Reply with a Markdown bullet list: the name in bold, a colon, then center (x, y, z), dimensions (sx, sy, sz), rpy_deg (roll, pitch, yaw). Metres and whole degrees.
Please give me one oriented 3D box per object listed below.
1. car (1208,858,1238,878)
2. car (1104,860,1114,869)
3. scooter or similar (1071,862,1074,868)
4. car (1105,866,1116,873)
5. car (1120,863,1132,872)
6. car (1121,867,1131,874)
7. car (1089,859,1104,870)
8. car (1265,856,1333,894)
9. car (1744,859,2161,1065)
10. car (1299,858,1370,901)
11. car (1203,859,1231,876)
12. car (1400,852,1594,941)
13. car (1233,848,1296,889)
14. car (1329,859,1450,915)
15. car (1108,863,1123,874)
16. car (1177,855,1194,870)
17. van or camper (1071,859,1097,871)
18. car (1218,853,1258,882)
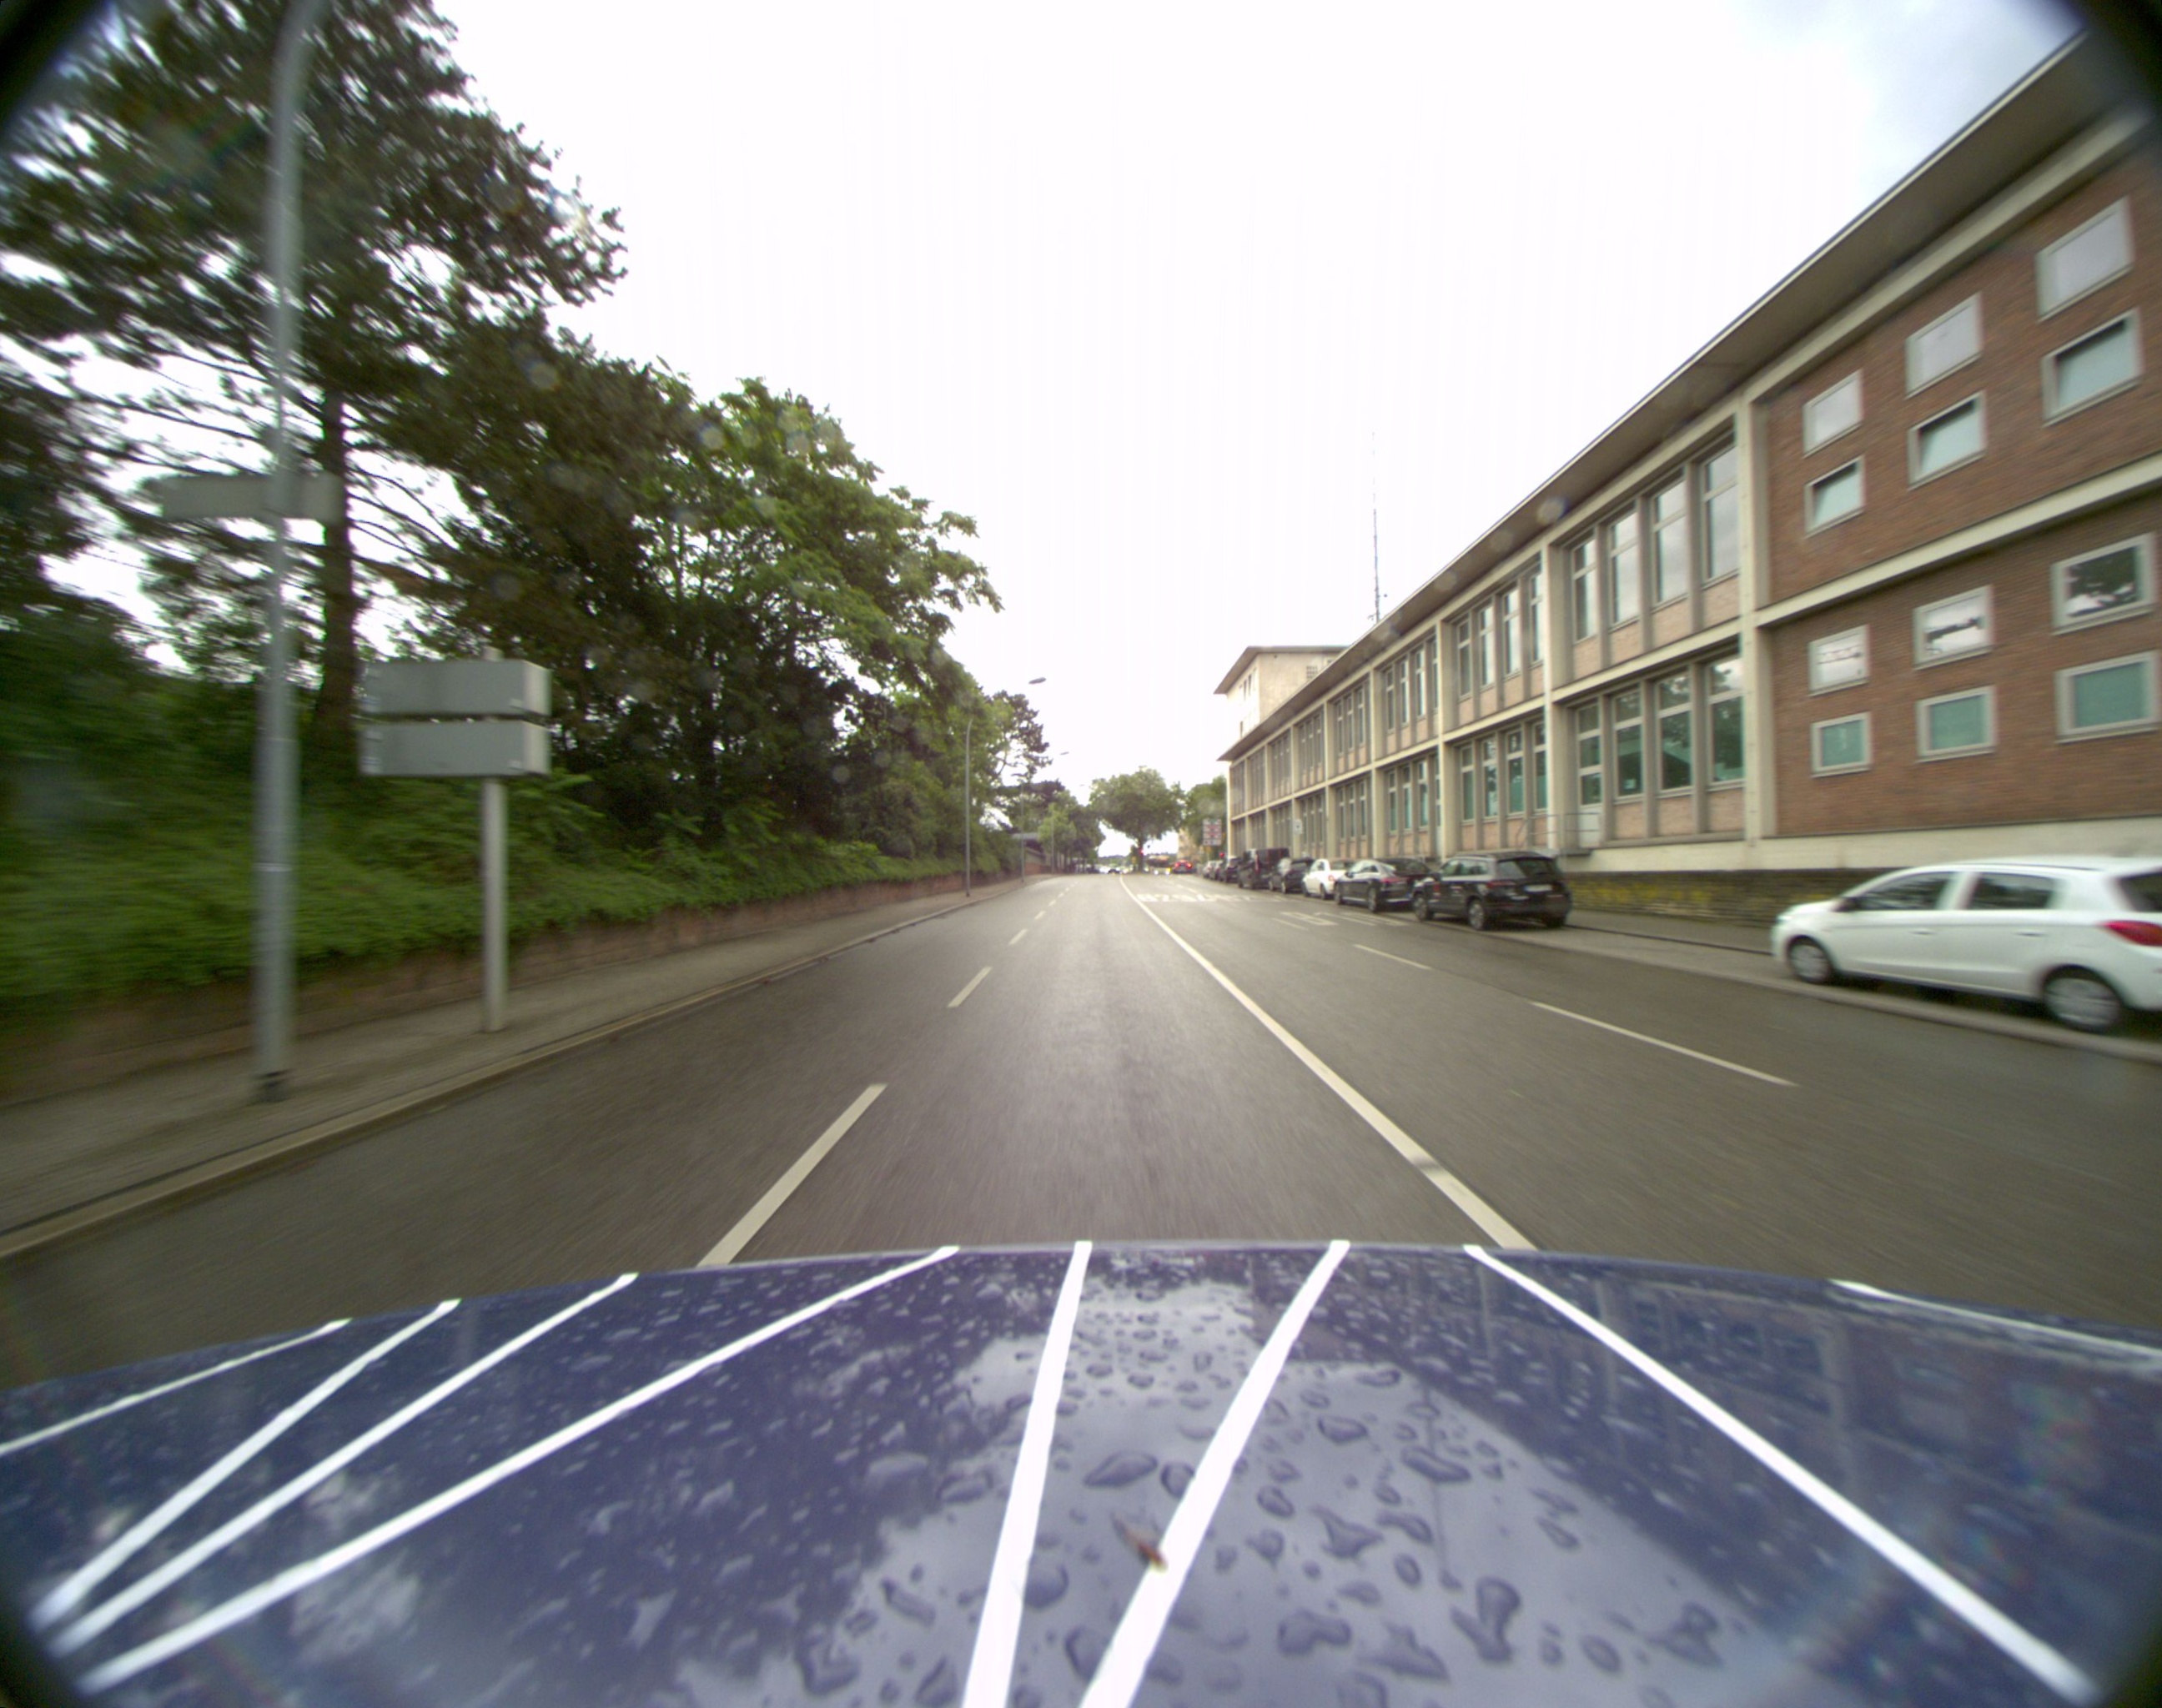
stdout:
- **car**: center (9.828, 0.937, 52.747), dimensions (1.546, 1.345, 4.111), rpy_deg (-1, 0, 4)
- **car**: center (4.866, 1.847, 130.173), dimensions (1.619, 1.477, 3.670), rpy_deg (-1, 0, 2)
- **scooter or similar**: center (-1.585, 2.029, 137.455), dimensions (0.494, 1.146, 1.546), rpy_deg (0, -1, 1)
- **car**: center (6.007, 3.153, 156.101), dimensions (1.983, 1.438, 3.909), rpy_deg (-1, 0, 5)
- **car**: center (7.863, 2.382, 131.765), dimensions (1.983, 1.437, 3.910), rpy_deg (1, -1, 5)
- **car**: center (8.968, 3.270, 151.355), dimensions (1.983, 1.437, 3.910), rpy_deg (1, -1, 5)
- **car**: center (2.306, 1.589, 112.718), dimensions (1.871, 1.465, 3.828), rpy_deg (1, -1, 6)
- **car**: center (9.473, 0.873, 33.365), dimensions (1.865, 1.542, 4.313), rpy_deg (-1, 0, 2)
- **car**: center (9.337, 0.865, 7.782), dimensions (1.683, 1.514, 3.920), rpy_deg (-2, 0, 0)
- **car**: center (9.386, 0.895, 28.337), dimensions (1.570, 1.475, 3.553), rpy_deg (-1, 0, 2)
- **car**: center (10.360, 1.012, 58.204), dimensions (1.695, 1.290, 4.094), rpy_deg (-1, 0, 4)
- **car**: center (9.074, 0.822, 17.102), dimensions (1.846, 1.644, 4.515), rpy_deg (-3, 1, 0)
- **car**: center (9.190, 0.691, 38.501), dimensions (1.954, 1.932, 4.996), rpy_deg (-1, 0, 0)
- **car**: center (9.113, 0.911, 22.955), dimensions (1.820, 1.475, 4.910), rpy_deg (-1, 0, 2)
- **car**: center (4.870, 2.102, 107.563), dimensions (1.871, 1.465, 3.828), rpy_deg (1, -1, 6)
- **car**: center (12.063, 0.932, 88.195), dimensions (1.825, 1.651, 4.339), rpy_deg (-1, 0, 7)
- **van or camper**: center (0.802, 2.904, 198.705), dimensions (6.540, 2.852, 2.275), rpy_deg (1, -1, -26)
- **car**: center (9.712, 0.781, 47.301), dimensions (1.801, 1.666, 4.604), rpy_deg (-1, 0, 3)
